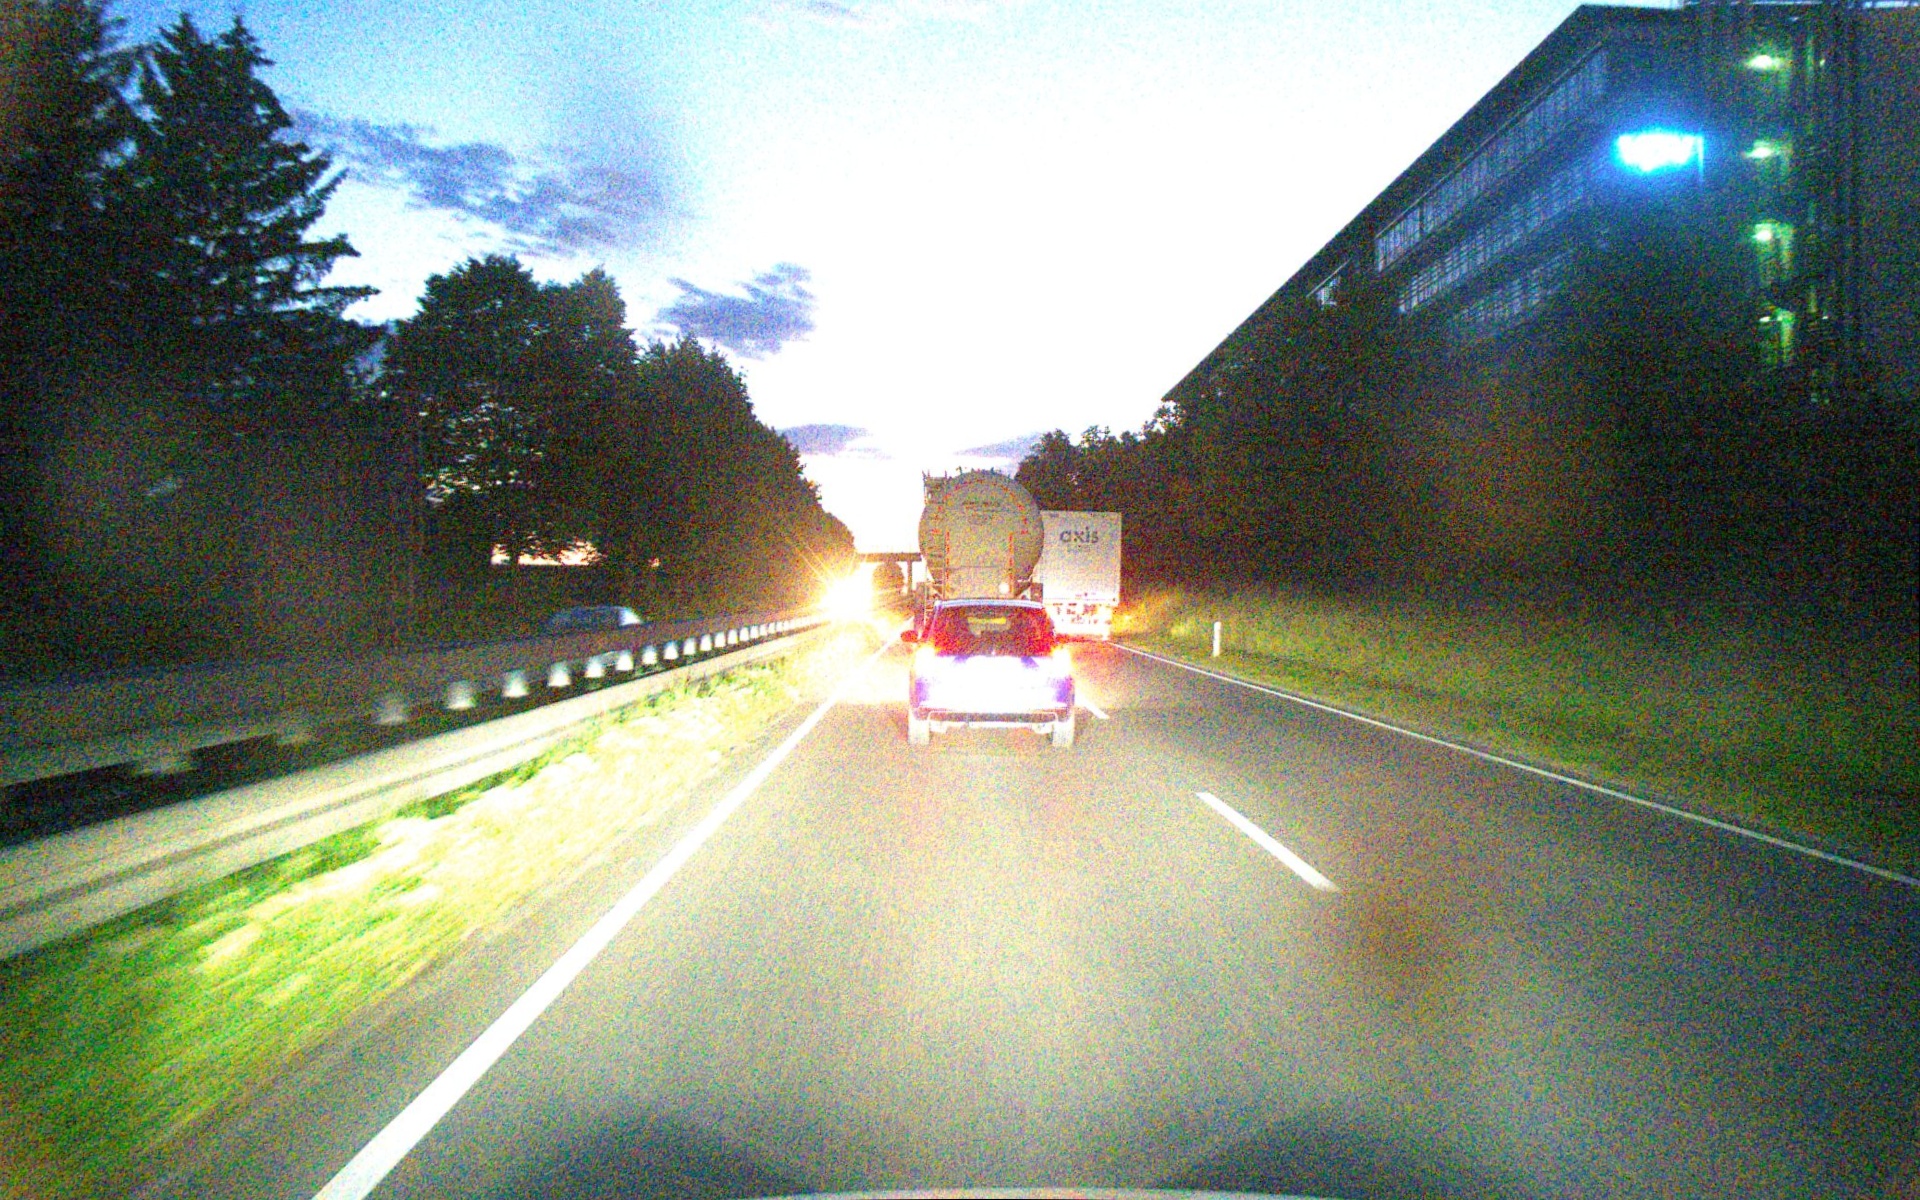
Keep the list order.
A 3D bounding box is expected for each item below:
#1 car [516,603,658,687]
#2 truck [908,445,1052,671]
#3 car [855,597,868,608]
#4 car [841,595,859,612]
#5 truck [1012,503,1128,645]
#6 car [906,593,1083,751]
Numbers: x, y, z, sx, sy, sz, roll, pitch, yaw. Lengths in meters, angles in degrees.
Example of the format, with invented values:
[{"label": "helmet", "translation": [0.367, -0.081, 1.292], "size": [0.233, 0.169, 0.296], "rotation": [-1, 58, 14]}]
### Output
[{"label": "car", "translation": [-6.957, 0.795, 31.270], "size": [1.685, 1.432, 4.573], "rotation": [1, 0, -1]}, {"label": "truck", "translation": [0.268, -0.777, 37.402], "size": [2.633, 4.178, 13.138], "rotation": [1, 0, -1]}, {"label": "car", "translation": [-13.436, 0.341, 226.560], "size": [1.584, 1.533, 3.868], "rotation": [1, 0, -1]}, {"label": "car", "translation": [-11.249, 0.340, 169.134], "size": [1.648, 1.615, 4.166], "rotation": [1, 0, -1]}, {"label": "truck", "translation": [3.475, -0.757, 55.609], "size": [2.824, 4.178, 12.680], "rotation": [1, 0, -1]}, {"label": "car", "translation": [0.300, 0.687, 17.627], "size": [1.661, 1.478, 3.913], "rotation": [1, 0, -1]}]
